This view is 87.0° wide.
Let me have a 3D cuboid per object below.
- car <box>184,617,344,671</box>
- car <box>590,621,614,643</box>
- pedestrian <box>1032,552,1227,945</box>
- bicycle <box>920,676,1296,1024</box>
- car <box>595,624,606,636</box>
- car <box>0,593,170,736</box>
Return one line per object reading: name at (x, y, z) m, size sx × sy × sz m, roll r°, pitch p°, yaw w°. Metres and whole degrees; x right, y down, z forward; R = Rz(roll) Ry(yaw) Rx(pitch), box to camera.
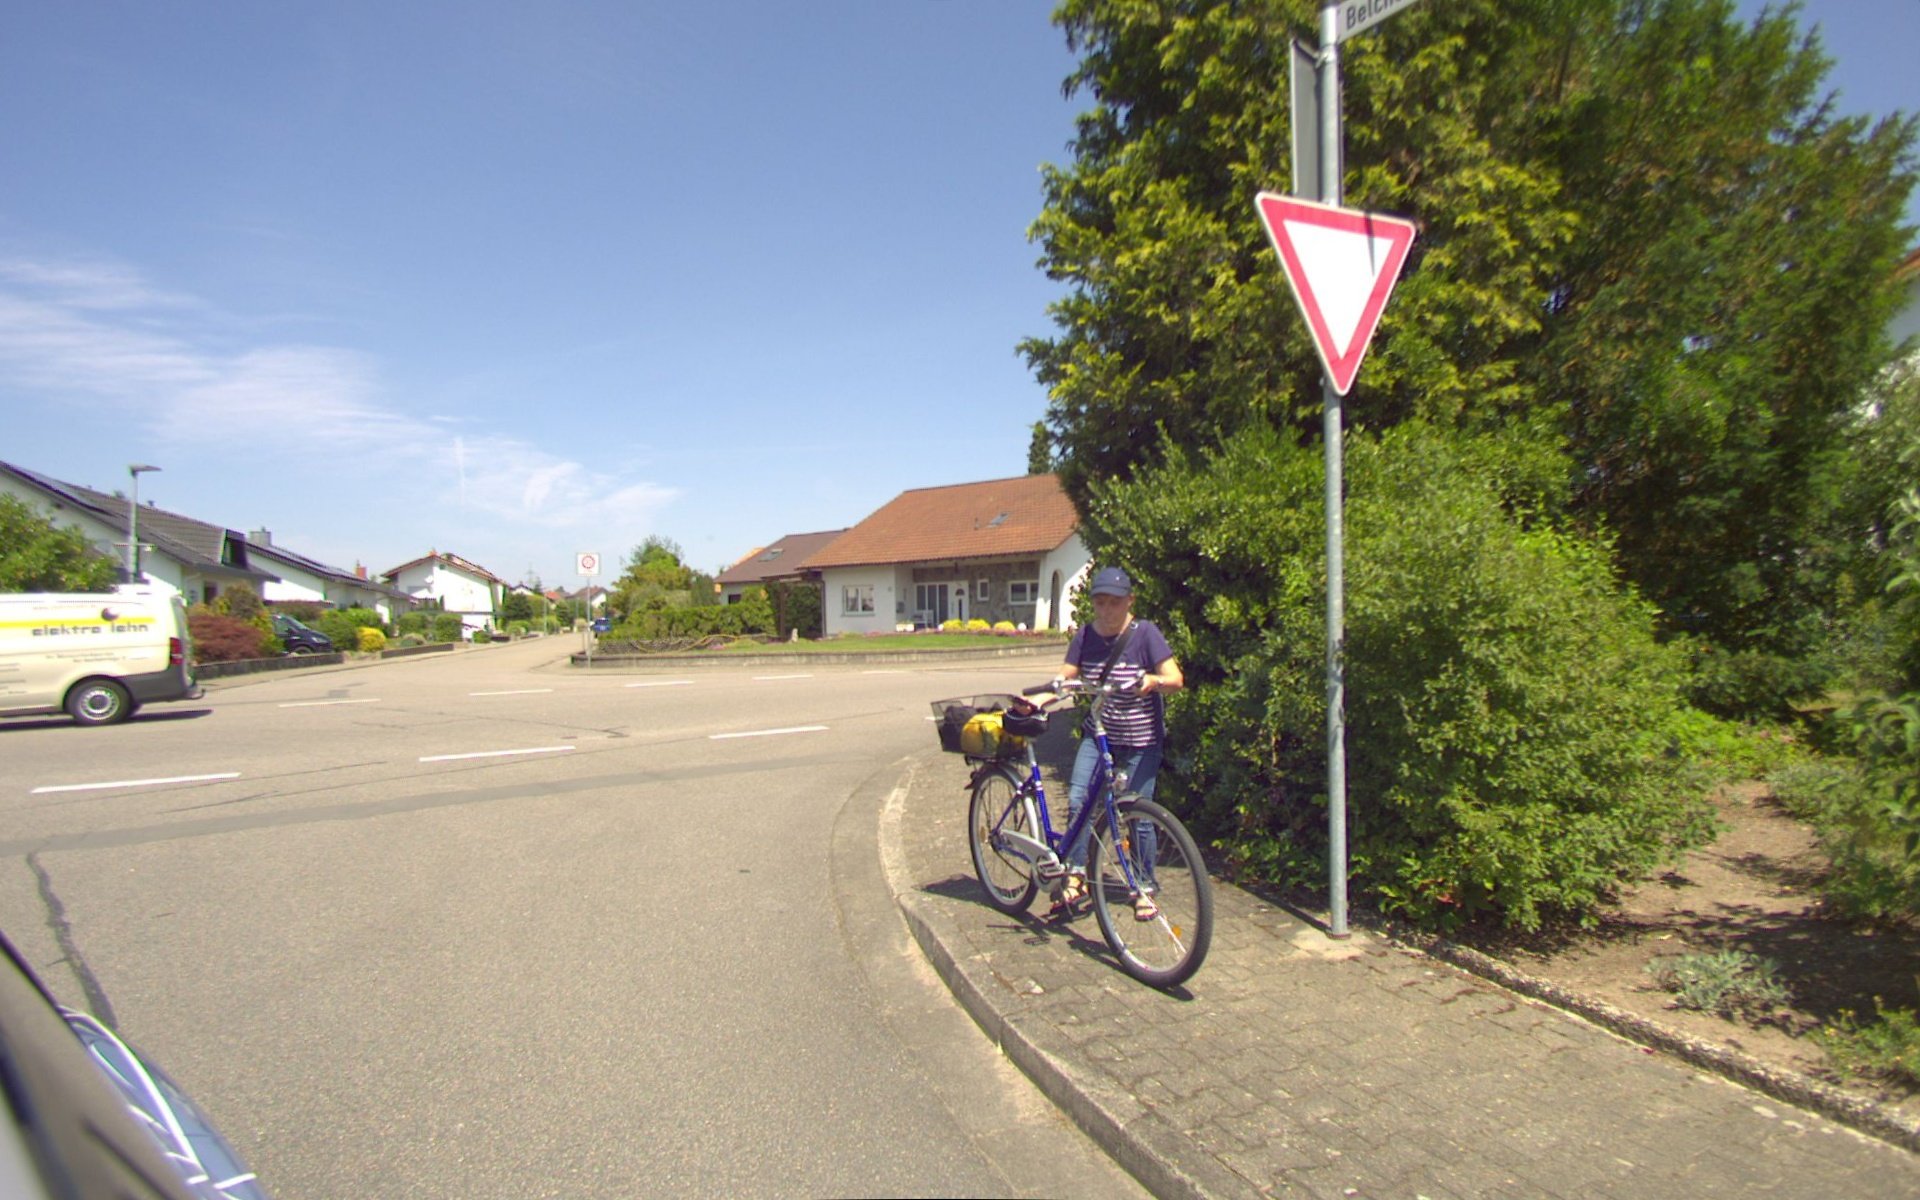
car at (-27.282, 1.701, 39.875) m, size 4.880 × 1.930 × 1.935 m, roll -1°, pitch -1°, yaw -23°
car at (-32.804, 2.882, 92.744) m, size 1.797 × 1.896 × 4.011 m, roll -1°, pitch -1°, yaw -15°
pedestrian at (0.706, 0.575, 4.296) m, size 0.496 × 1.512 × 0.613 m, roll -1°, pitch -1°, yaw -32°
bicycle at (0.460, 0.842, 4.048) m, size 0.435 × 0.971 × 1.854 m, roll -1°, pitch -1°, yaw -29°
car at (-64.355, 5.376, 181.186) m, size 1.844 × 1.940 × 4.013 m, roll -1°, pitch -1°, yaw -21°
car at (-13.957, 0.897, 13.702) m, size 4.983 × 1.870 × 2.025 m, roll -1°, pitch -1°, yaw -34°
